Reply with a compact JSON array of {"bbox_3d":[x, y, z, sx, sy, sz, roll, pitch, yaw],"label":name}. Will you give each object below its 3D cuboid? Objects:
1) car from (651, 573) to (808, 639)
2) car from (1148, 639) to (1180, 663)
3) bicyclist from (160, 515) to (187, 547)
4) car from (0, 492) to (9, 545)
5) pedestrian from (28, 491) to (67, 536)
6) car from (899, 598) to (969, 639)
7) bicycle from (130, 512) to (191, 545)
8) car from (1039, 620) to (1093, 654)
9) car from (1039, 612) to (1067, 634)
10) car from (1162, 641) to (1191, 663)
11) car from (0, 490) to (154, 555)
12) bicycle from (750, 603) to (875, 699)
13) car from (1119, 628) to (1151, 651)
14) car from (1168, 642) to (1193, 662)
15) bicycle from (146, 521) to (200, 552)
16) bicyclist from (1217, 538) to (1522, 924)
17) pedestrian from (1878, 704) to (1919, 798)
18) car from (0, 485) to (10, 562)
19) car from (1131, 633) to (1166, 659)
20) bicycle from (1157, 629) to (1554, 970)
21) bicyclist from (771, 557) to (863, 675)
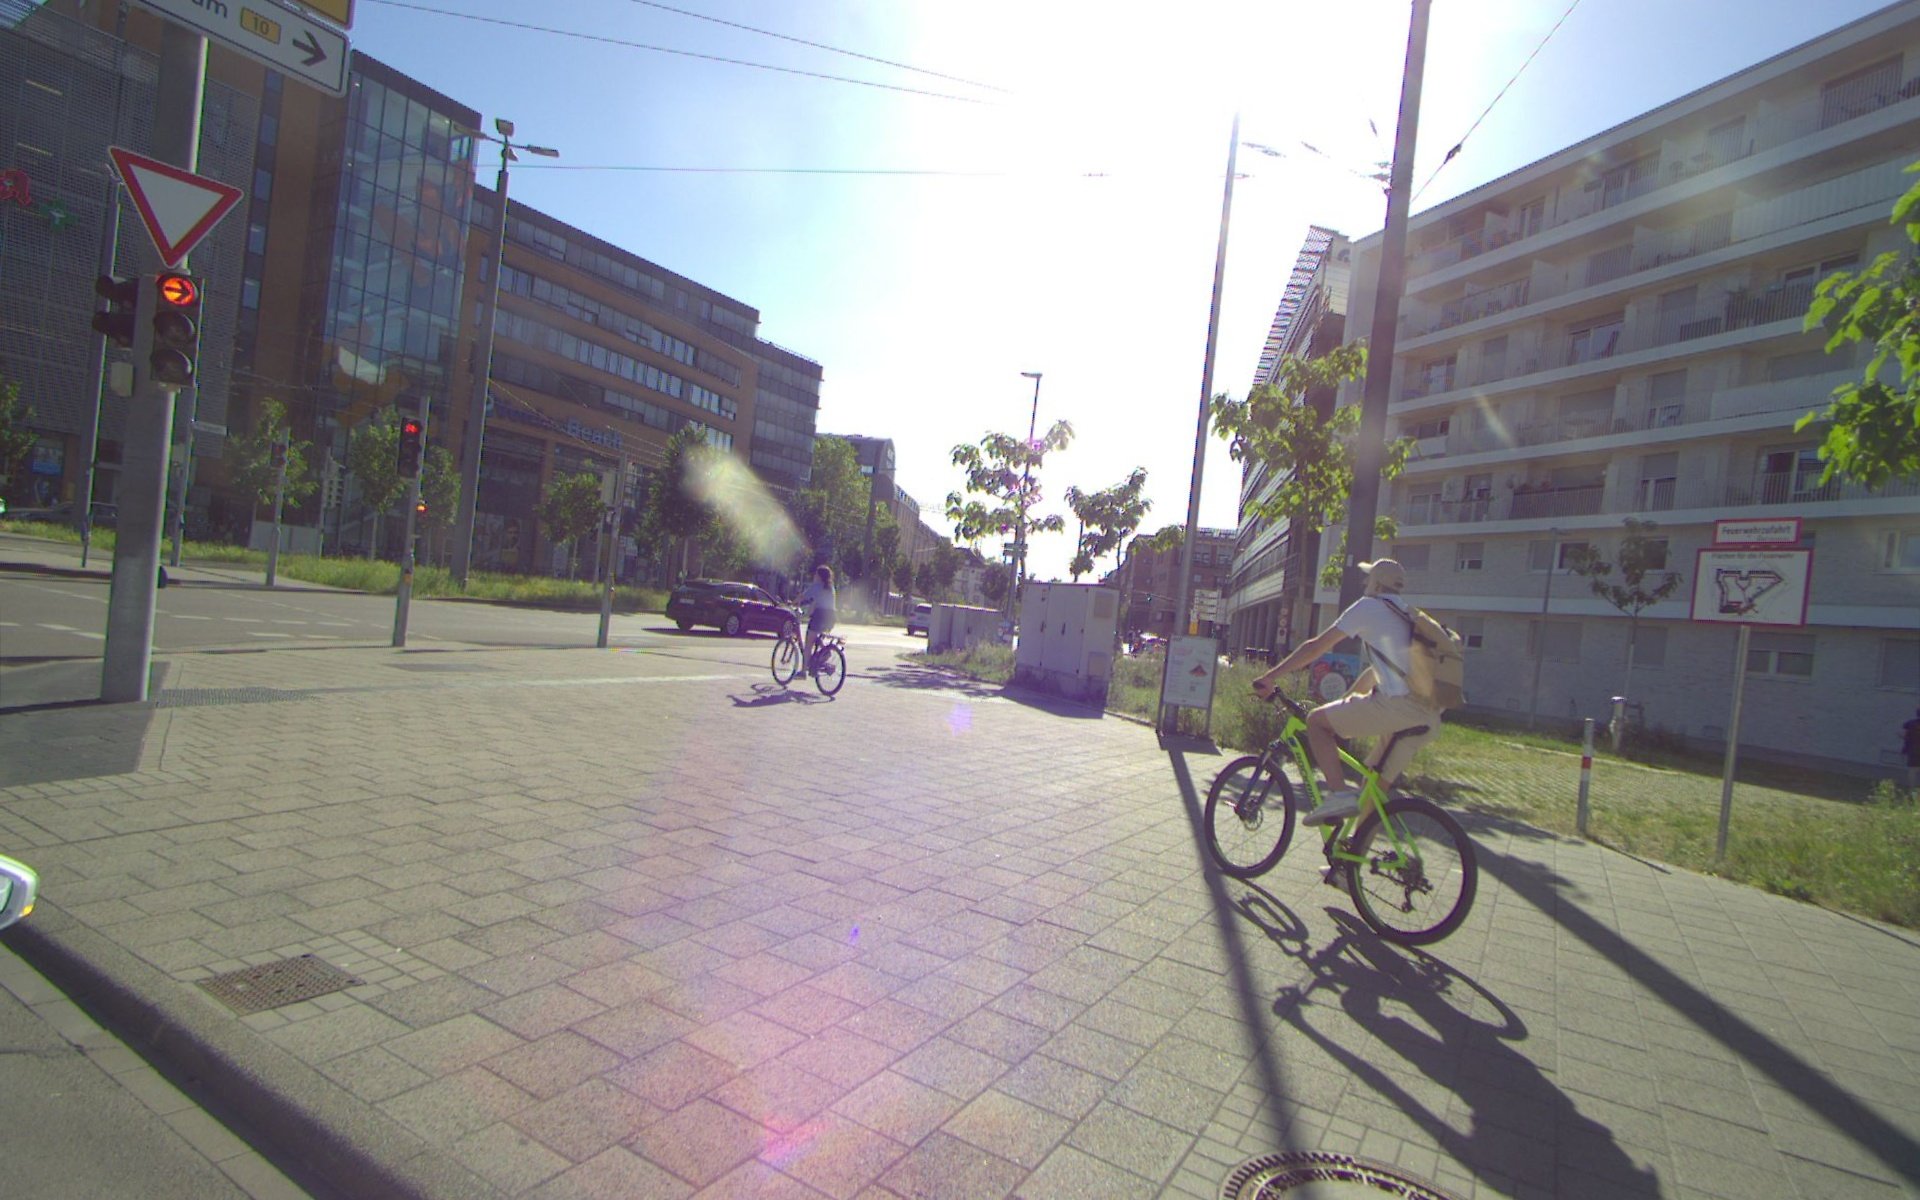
[{"bbox_3d":[-6.412,0.230,28.543,1.800,1.480,4.680,7,0,23],"label":"car"},{"bbox_3d":[15.702,3.942,77.344,1.677,1.515,4.281,7,-2,19],"label":"car"},{"bbox_3d":[-37.730,-3.296,48.237,0.556,1.404,0.754,9,2,31],"label":"bicyclist"},{"bbox_3d":[-36.410,-3.202,35.030,1.810,1.885,4.333,6,-1,31],"label":"car"},{"bbox_3d":[-41.106,-3.911,45.311,1.019,1.852,1.012,8,2,35],"label":"pedestrian"},{"bbox_3d":[-1.273,0.983,51.585,1.901,1.728,4.684,7,0,19],"label":"car"},{"bbox_3d":[-40.519,-3.614,51.034,0.595,1.310,2.260,7,-2,30],"label":"bicycle"},{"bbox_3d":[5.904,2.078,55.607,1.675,1.591,4.872,7,-1,21],"label":"car"},{"bbox_3d":[8.143,2.010,87.540,1.615,1.665,3.704,7,-1,15],"label":"car"},{"bbox_3d":[17.917,4.310,83.264,1.677,1.515,4.281,7,-2,19],"label":"car"},{"bbox_3d":[-32.070,-2.770,36.327,1.810,1.484,4.161,6,-5,30],"label":"car"},{"bbox_3d":[-2.005,0.663,13.480,0.664,1.085,1.798,5,1,-43],"label":"bicycle"},{"bbox_3d":[13.690,3.111,78.669,1.677,1.515,4.281,7,-2,19],"label":"car"},{"bbox_3d":[20.743,4.919,94.607,1.677,1.515,4.281,7,-2,19],"label":"car"},{"bbox_3d":[-37.752,-3.044,48.260,0.559,1.232,1.859,9,1,31],"label":"bicycle"},{"bbox_3d":[2.083,0.603,5.222,0.709,1.748,1.084,5,2,-34],"label":"bicyclist"},{"bbox_3d":[18.918,2.993,19.707,0.970,1.719,0.842,6,2,-16],"label":"pedestrian"},{"bbox_3d":[-13.870,-0.957,11.268,1.678,1.531,4.278,7,-2,25],"label":"car"},{"bbox_3d":[13.339,3.277,71.154,1.677,1.515,4.281,7,-2,19],"label":"car"},{"bbox_3d":[1.986,0.930,5.322,0.709,1.344,1.732,5,2,-34],"label":"bicycle"},{"bbox_3d":[-1.915,0.210,13.433,0.664,1.454,0.929,6,1,-43],"label":"bicyclist"}]
